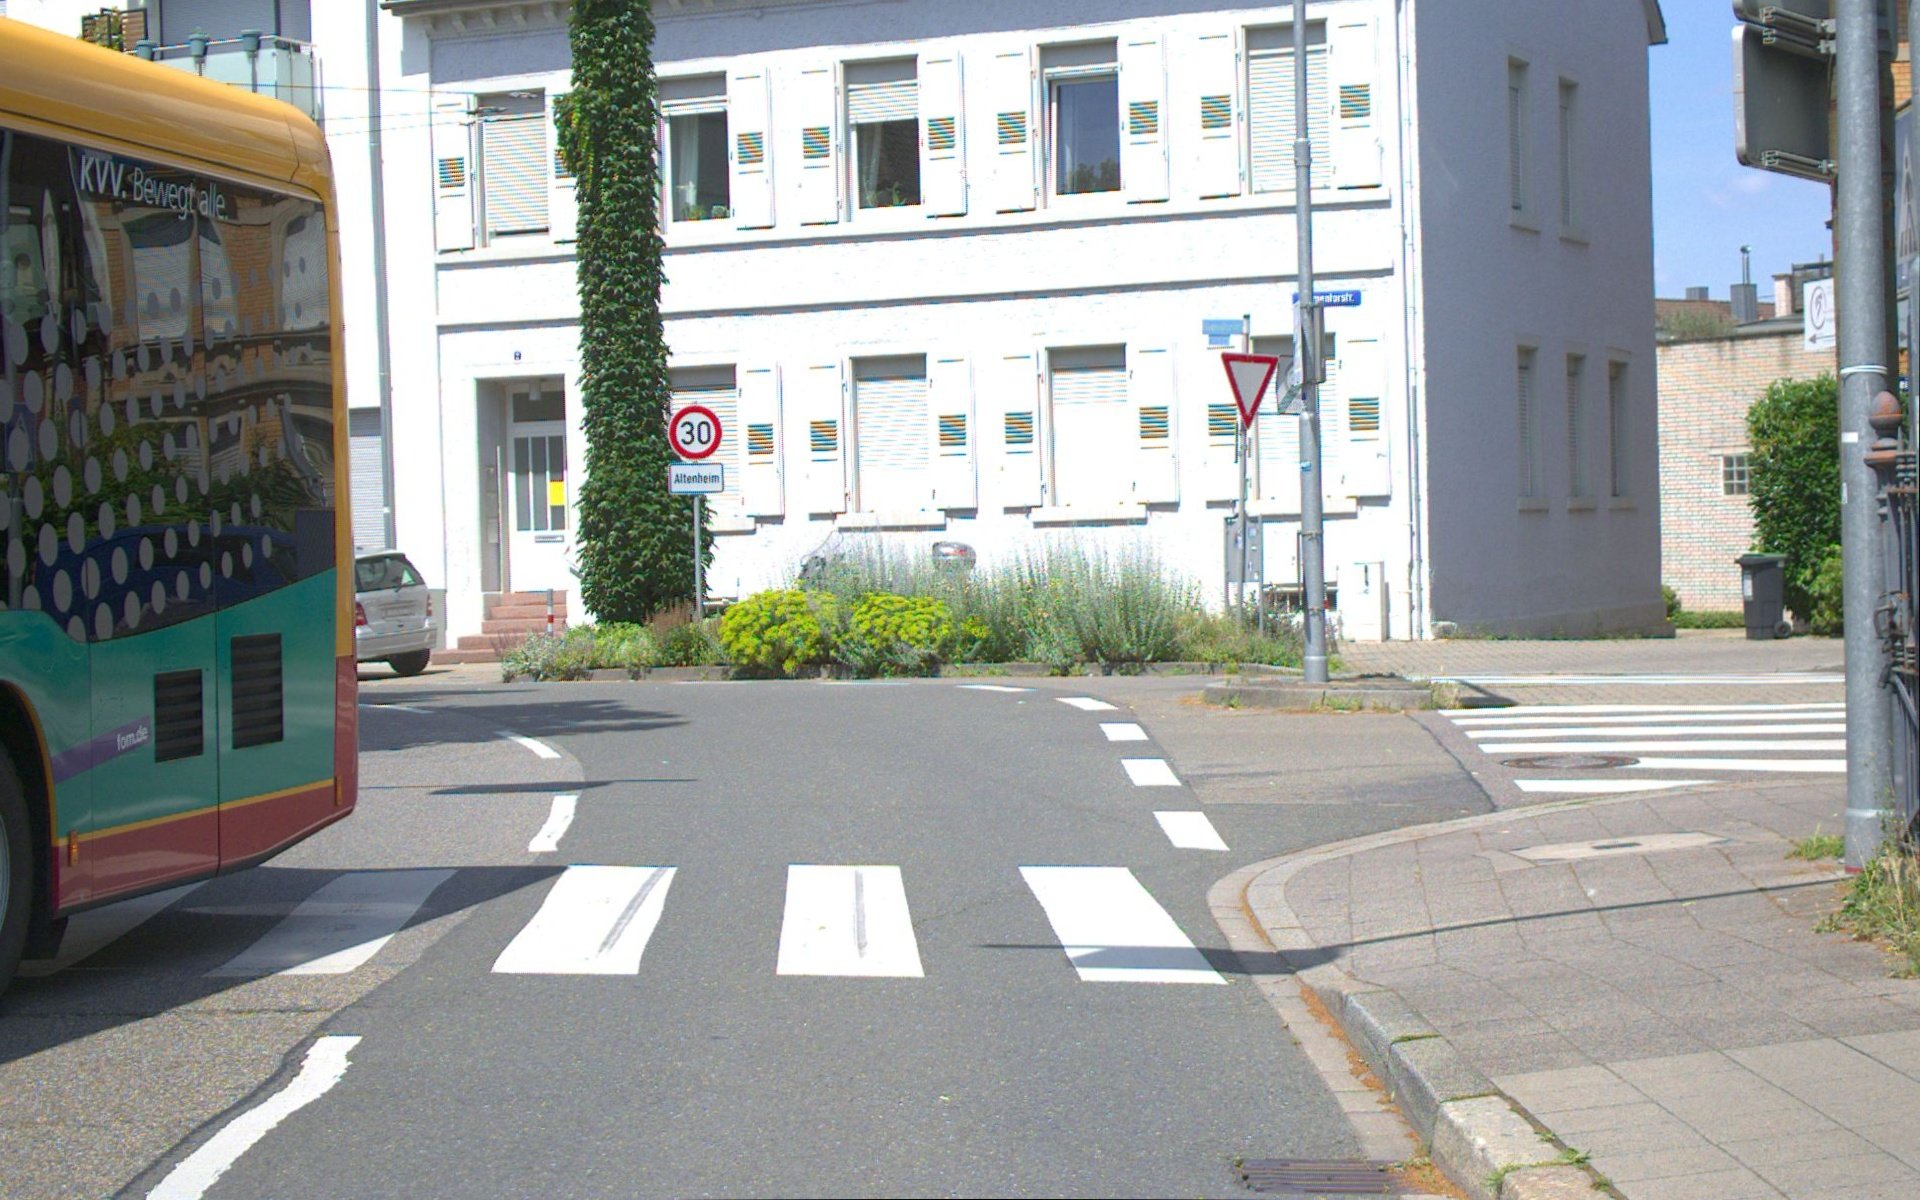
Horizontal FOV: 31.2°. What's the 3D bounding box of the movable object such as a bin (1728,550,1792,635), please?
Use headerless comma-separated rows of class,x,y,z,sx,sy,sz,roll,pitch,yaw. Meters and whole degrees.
movable object such as a bin,8.688,-0.079,37.354,0.418,0.913,0.560,1,-1,-25

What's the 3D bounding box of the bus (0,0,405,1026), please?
bus,-4.732,-0.274,7.787,2.781,3.197,12.301,1,2,11

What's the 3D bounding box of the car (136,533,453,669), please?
car,-8.038,0.014,41.470,3.612,1.581,1.581,0,-1,31
